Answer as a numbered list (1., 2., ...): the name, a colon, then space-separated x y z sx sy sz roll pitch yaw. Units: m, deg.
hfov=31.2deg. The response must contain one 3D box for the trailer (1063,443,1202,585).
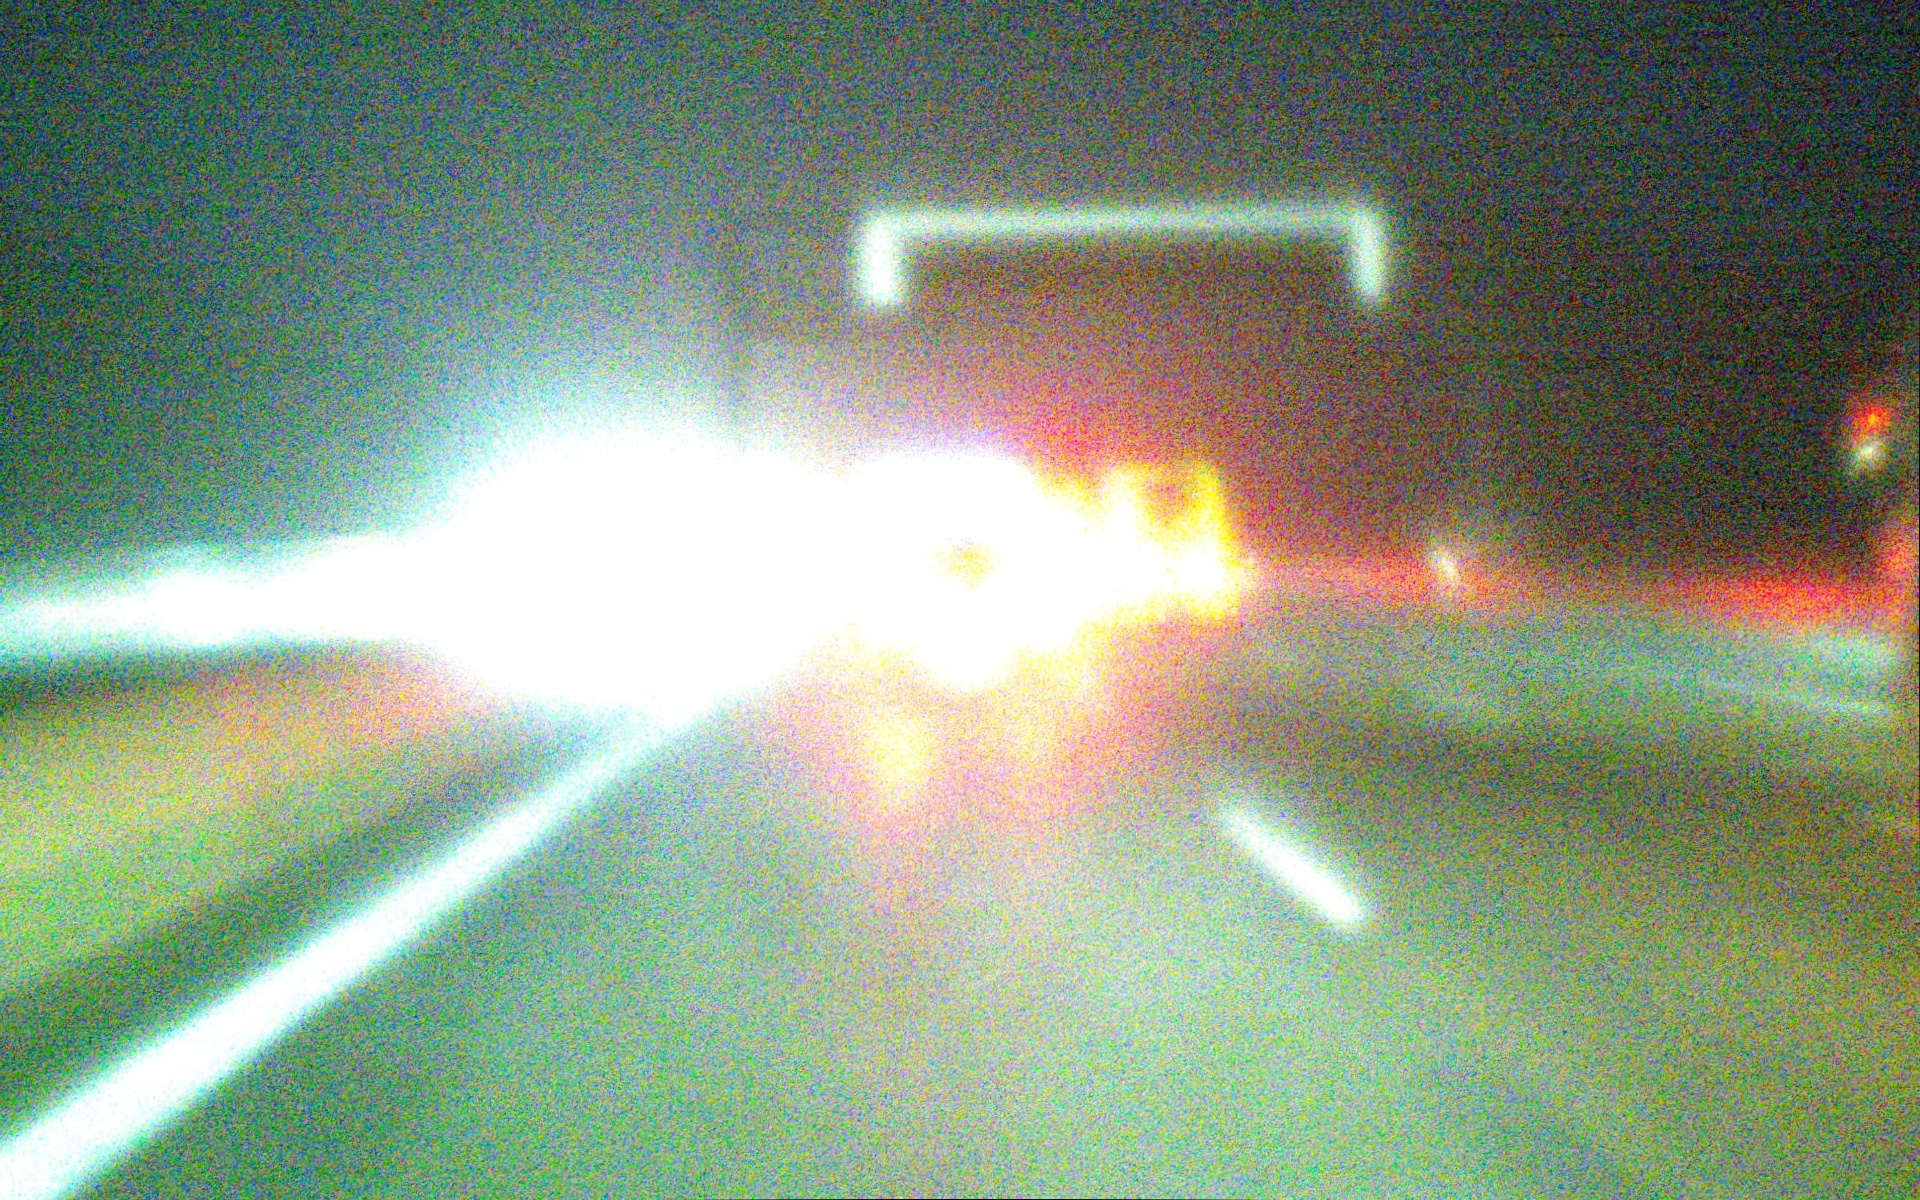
1. trailer: 5.327 -2.602 109.032 3.041 4.094 13.830 -2 0 -2

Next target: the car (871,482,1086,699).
1. car: 0.123 -0.100 33.962 1.993 2.007 4.000 0 0 -1

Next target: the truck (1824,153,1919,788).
1. truck: 7.665 -0.842 21.352 2.903 4.094 6.031 -2 1 -1

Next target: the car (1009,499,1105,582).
1. car: 2.439 -1.497 87.625 1.993 2.007 4.001 -2 0 -4

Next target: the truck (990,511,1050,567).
1. truck: 3.757 -3.820 216.987 3.037 3.286 11.382 -2 0 -2
